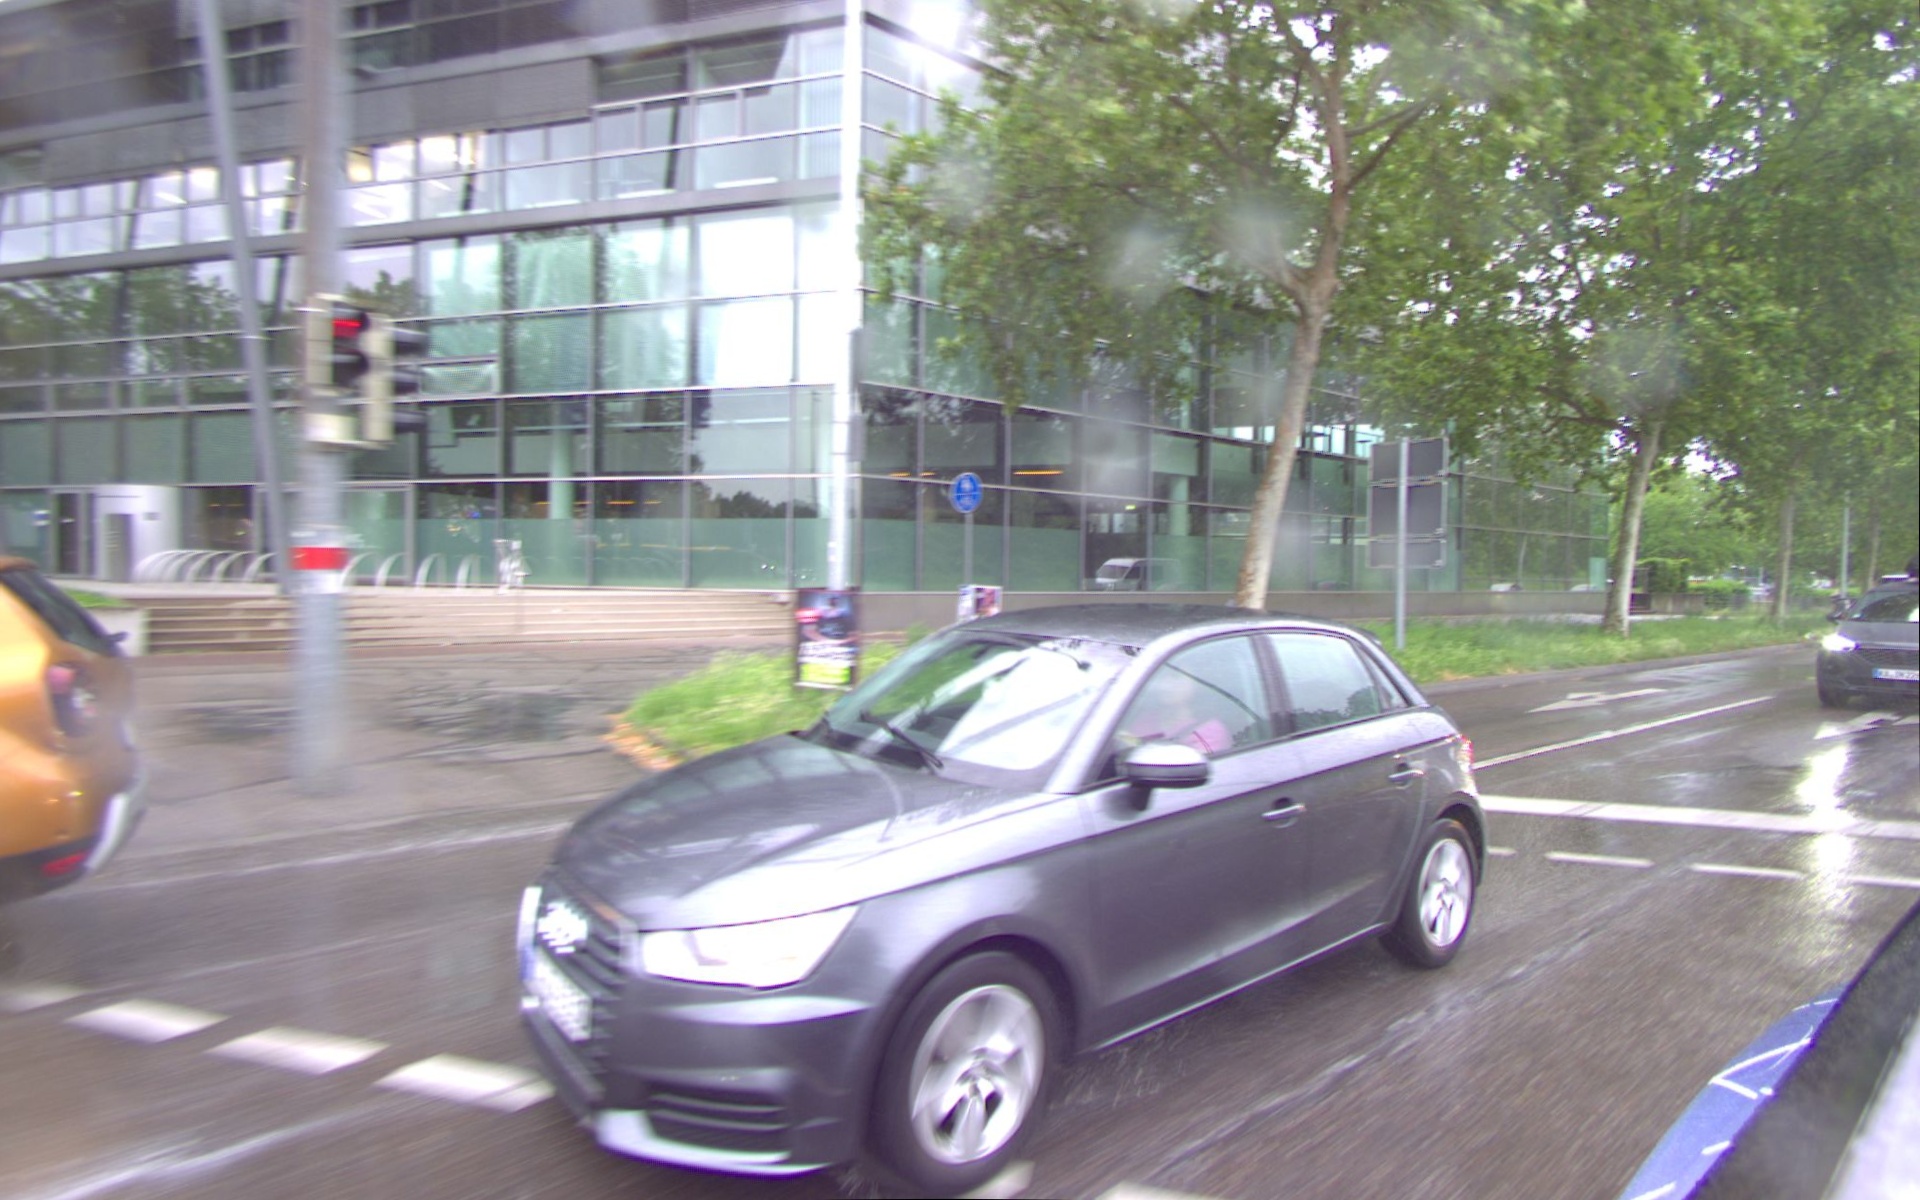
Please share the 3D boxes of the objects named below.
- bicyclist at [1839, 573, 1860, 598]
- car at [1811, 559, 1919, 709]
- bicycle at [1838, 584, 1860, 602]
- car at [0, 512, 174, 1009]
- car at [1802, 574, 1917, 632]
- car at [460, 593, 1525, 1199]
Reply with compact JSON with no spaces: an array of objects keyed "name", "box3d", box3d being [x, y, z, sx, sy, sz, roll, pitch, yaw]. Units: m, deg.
[{"name":"bicyclist","box3d":[56.737,-0.932,64.539,0.739,1.533,0.806,-1,5,-41]},{"name":"car","box3d":[13.043,0.402,13.329,4.249,1.769,1.999,0,2,-39]},{"name":"bicycle","box3d":[56.714,-0.468,64.572,2.041,1.118,0.744,-1,4,-41]},{"name":"car","box3d":[-5.014,0.517,3.112,4.094,1.652,1.905,-1,2,-38]},{"name":"car","box3d":[24.253,0.043,27.249,3.930,1.454,1.801,0,1,-40]},{"name":"car","box3d":[0.350,0.693,3.779,3.686,1.416,1.840,-1,1,-39]}]
